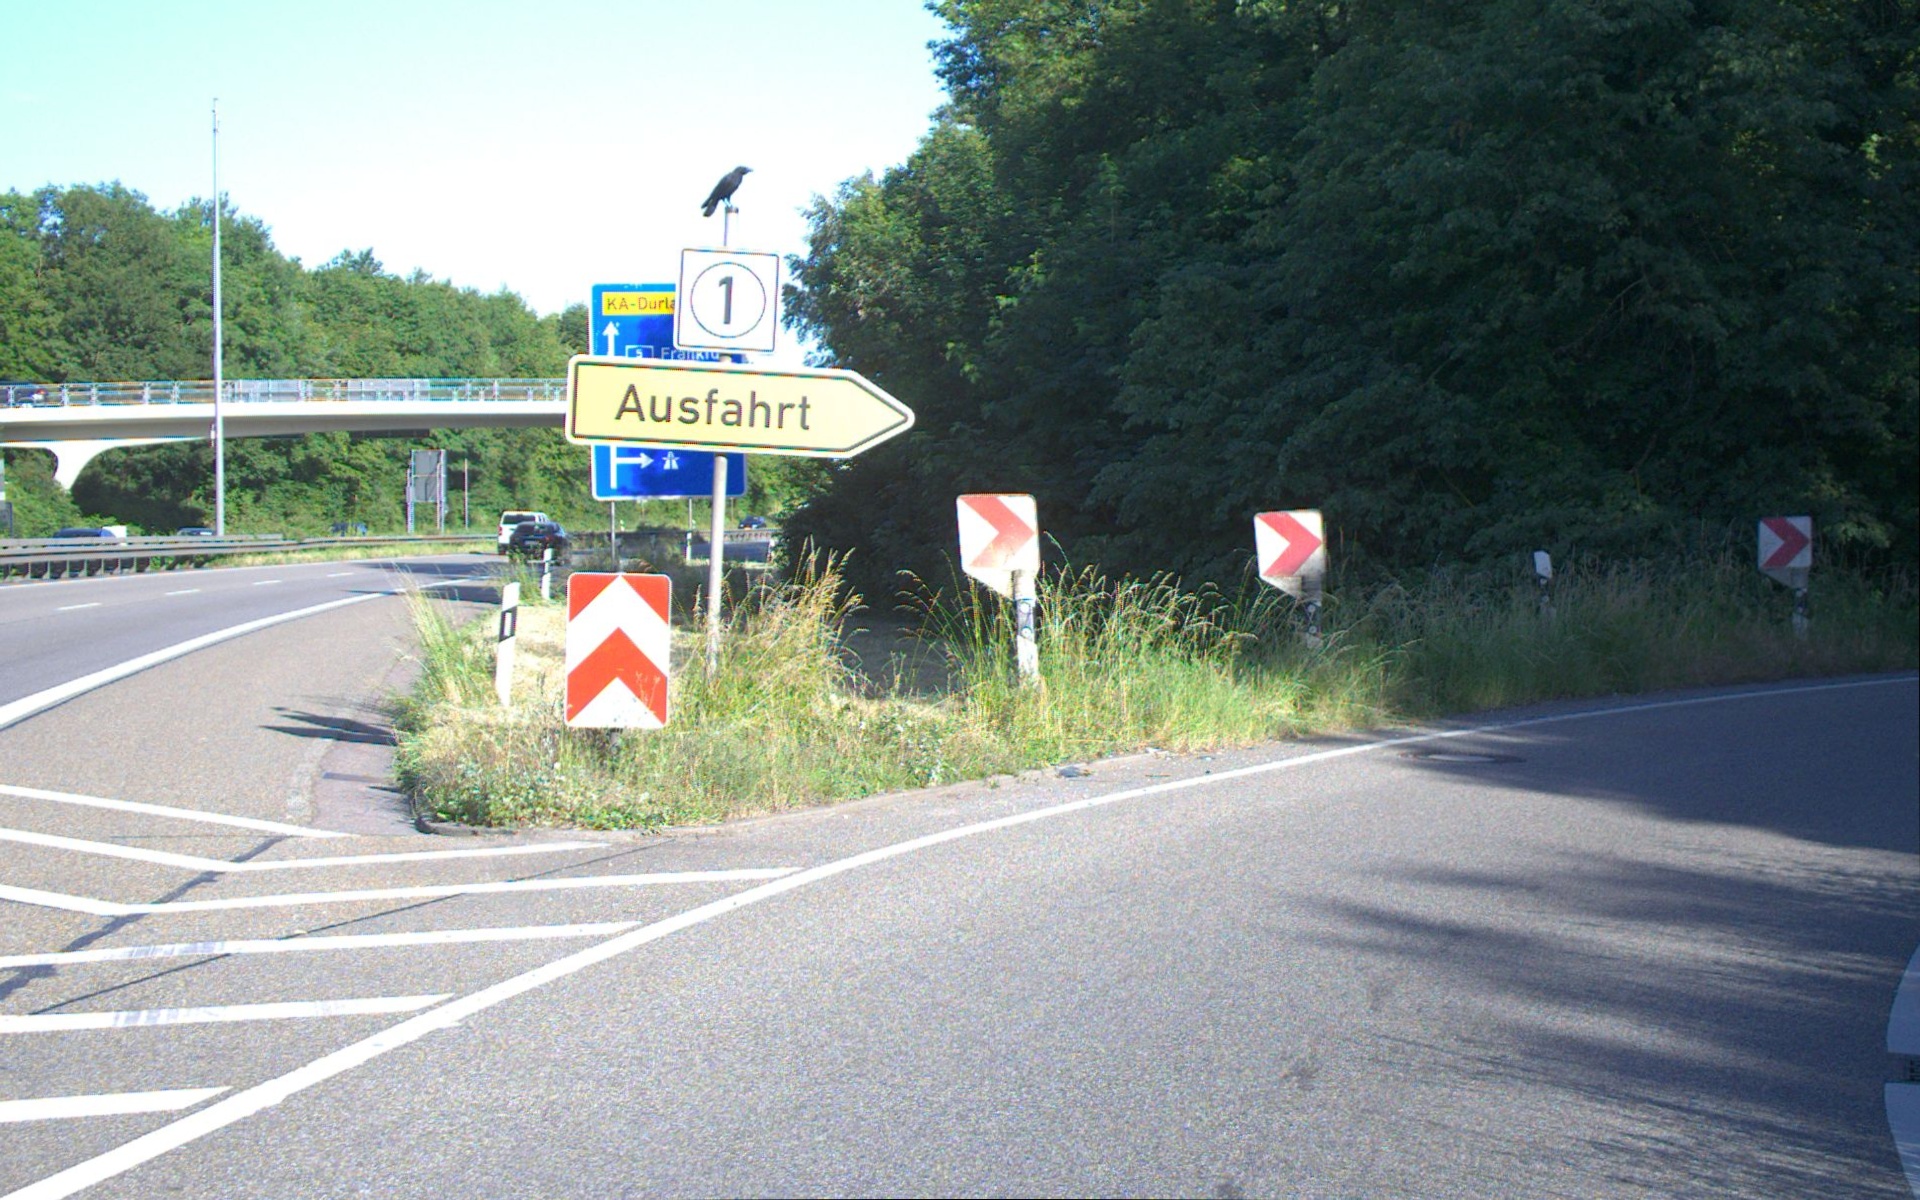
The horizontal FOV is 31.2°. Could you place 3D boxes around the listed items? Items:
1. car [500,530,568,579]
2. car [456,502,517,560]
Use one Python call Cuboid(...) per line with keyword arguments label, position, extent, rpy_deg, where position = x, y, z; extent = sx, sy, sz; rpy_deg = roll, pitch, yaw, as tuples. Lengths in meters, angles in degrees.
Cuboid(label="car", position=(-14.566, -1.564, 117.649), extent=(1.739, 1.656, 3.945), rpy_deg=(0, 1, 2))
Cuboid(label="car", position=(-18.911, -2.752, 137.424), extent=(1.993, 2.269, 4.001), rpy_deg=(0, 1, -2))
